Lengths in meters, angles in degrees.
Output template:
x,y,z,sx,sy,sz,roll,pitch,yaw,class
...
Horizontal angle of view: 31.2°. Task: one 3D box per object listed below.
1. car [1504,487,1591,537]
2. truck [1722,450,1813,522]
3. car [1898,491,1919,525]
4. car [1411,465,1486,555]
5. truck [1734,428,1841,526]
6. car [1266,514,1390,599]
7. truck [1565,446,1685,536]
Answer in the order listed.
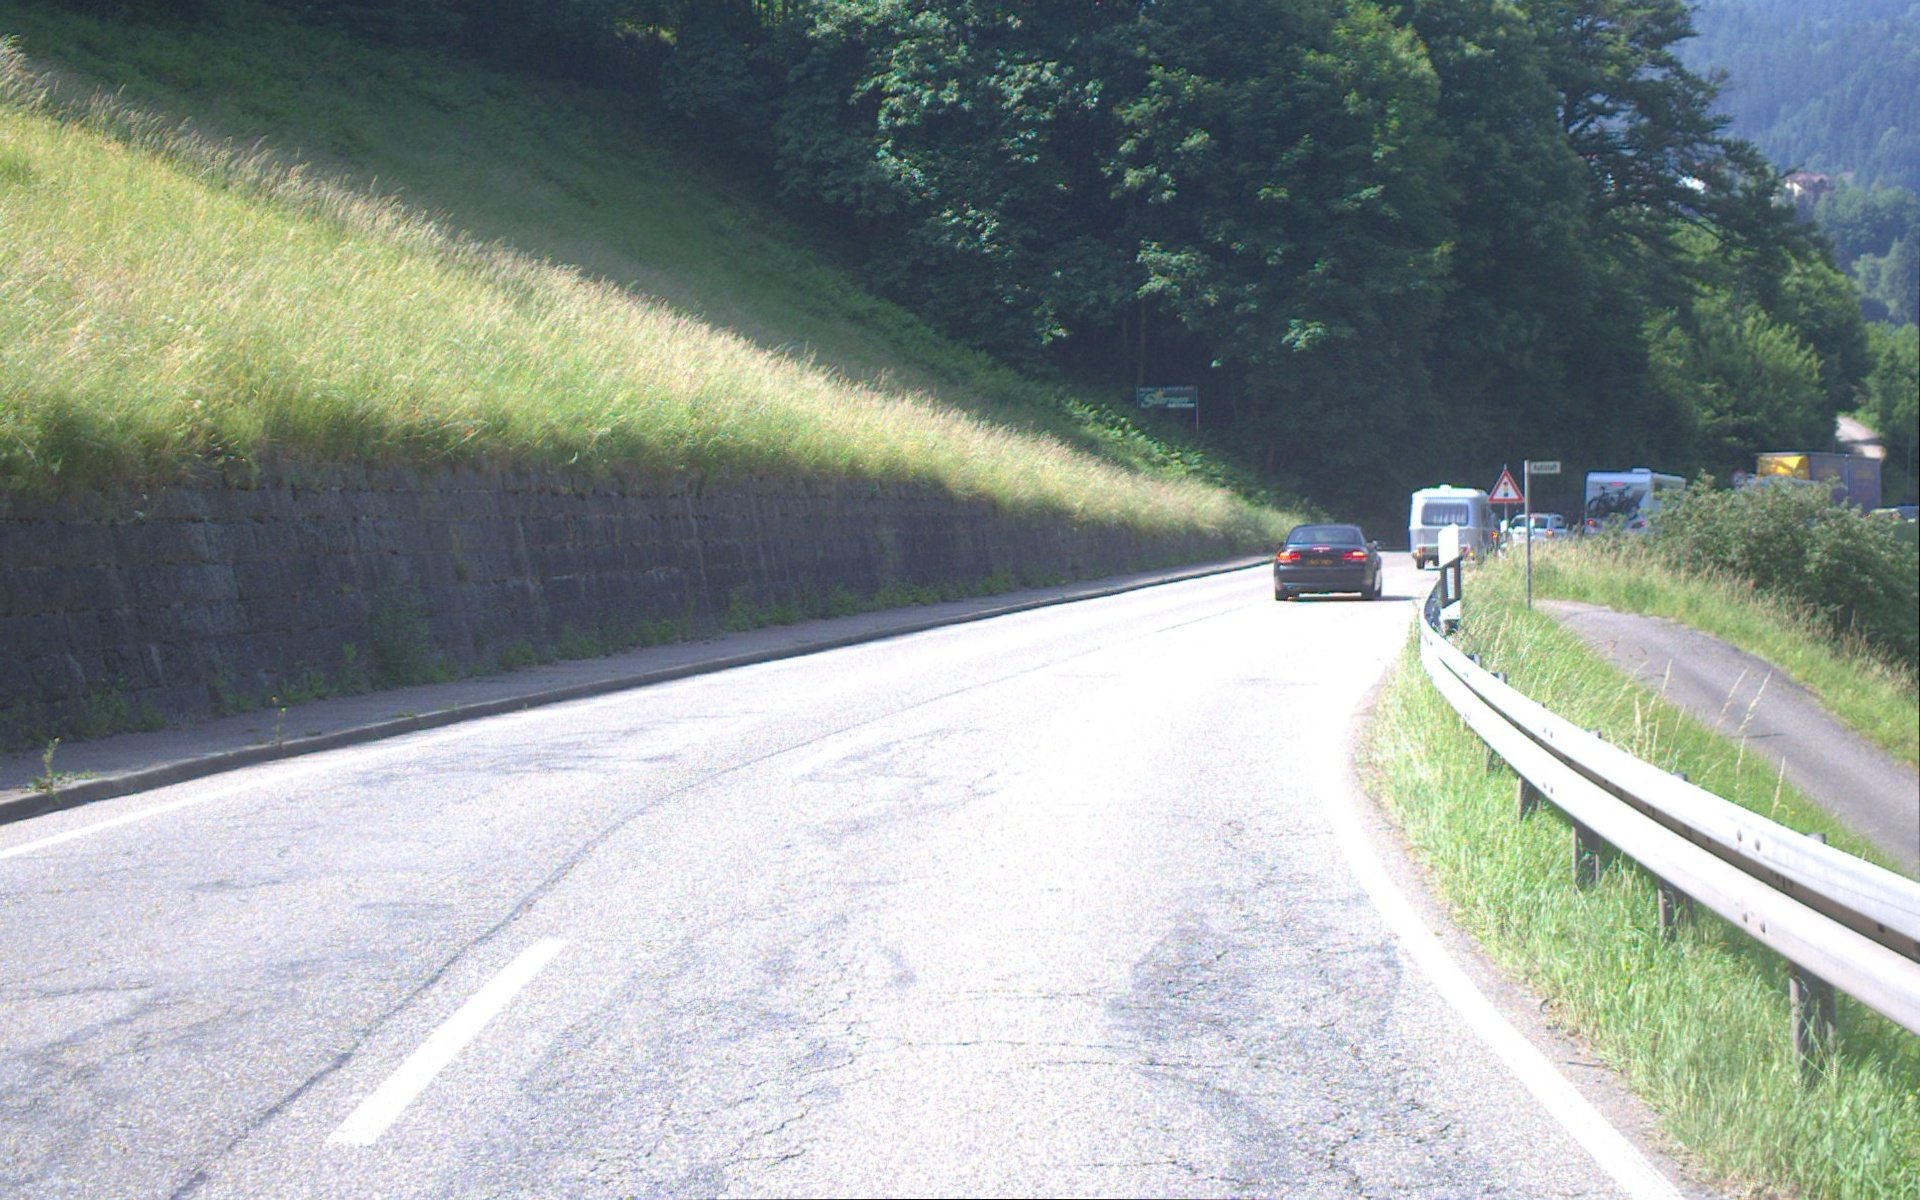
x,y,z,sx,sy,sz,roll,pitch,yaw,class
18.732,-2.810,109.549,1.996,1.479,3.996,3,3,20,car
33.391,-4.691,142.075,2.241,2.794,6.223,2,1,26,truck
45.712,-4.326,162.176,1.910,1.481,3.994,4,4,29,car
13.504,-2.519,95.186,1.994,2.344,4.913,1,3,8,car
38.428,-5.729,159.539,3.193,4.381,6.562,3,3,28,truck
6.563,-0.799,61.027,1.772,1.331,3.765,1,3,12,car
23.622,-3.895,121.843,2.794,2.987,6.861,3,4,22,truck
